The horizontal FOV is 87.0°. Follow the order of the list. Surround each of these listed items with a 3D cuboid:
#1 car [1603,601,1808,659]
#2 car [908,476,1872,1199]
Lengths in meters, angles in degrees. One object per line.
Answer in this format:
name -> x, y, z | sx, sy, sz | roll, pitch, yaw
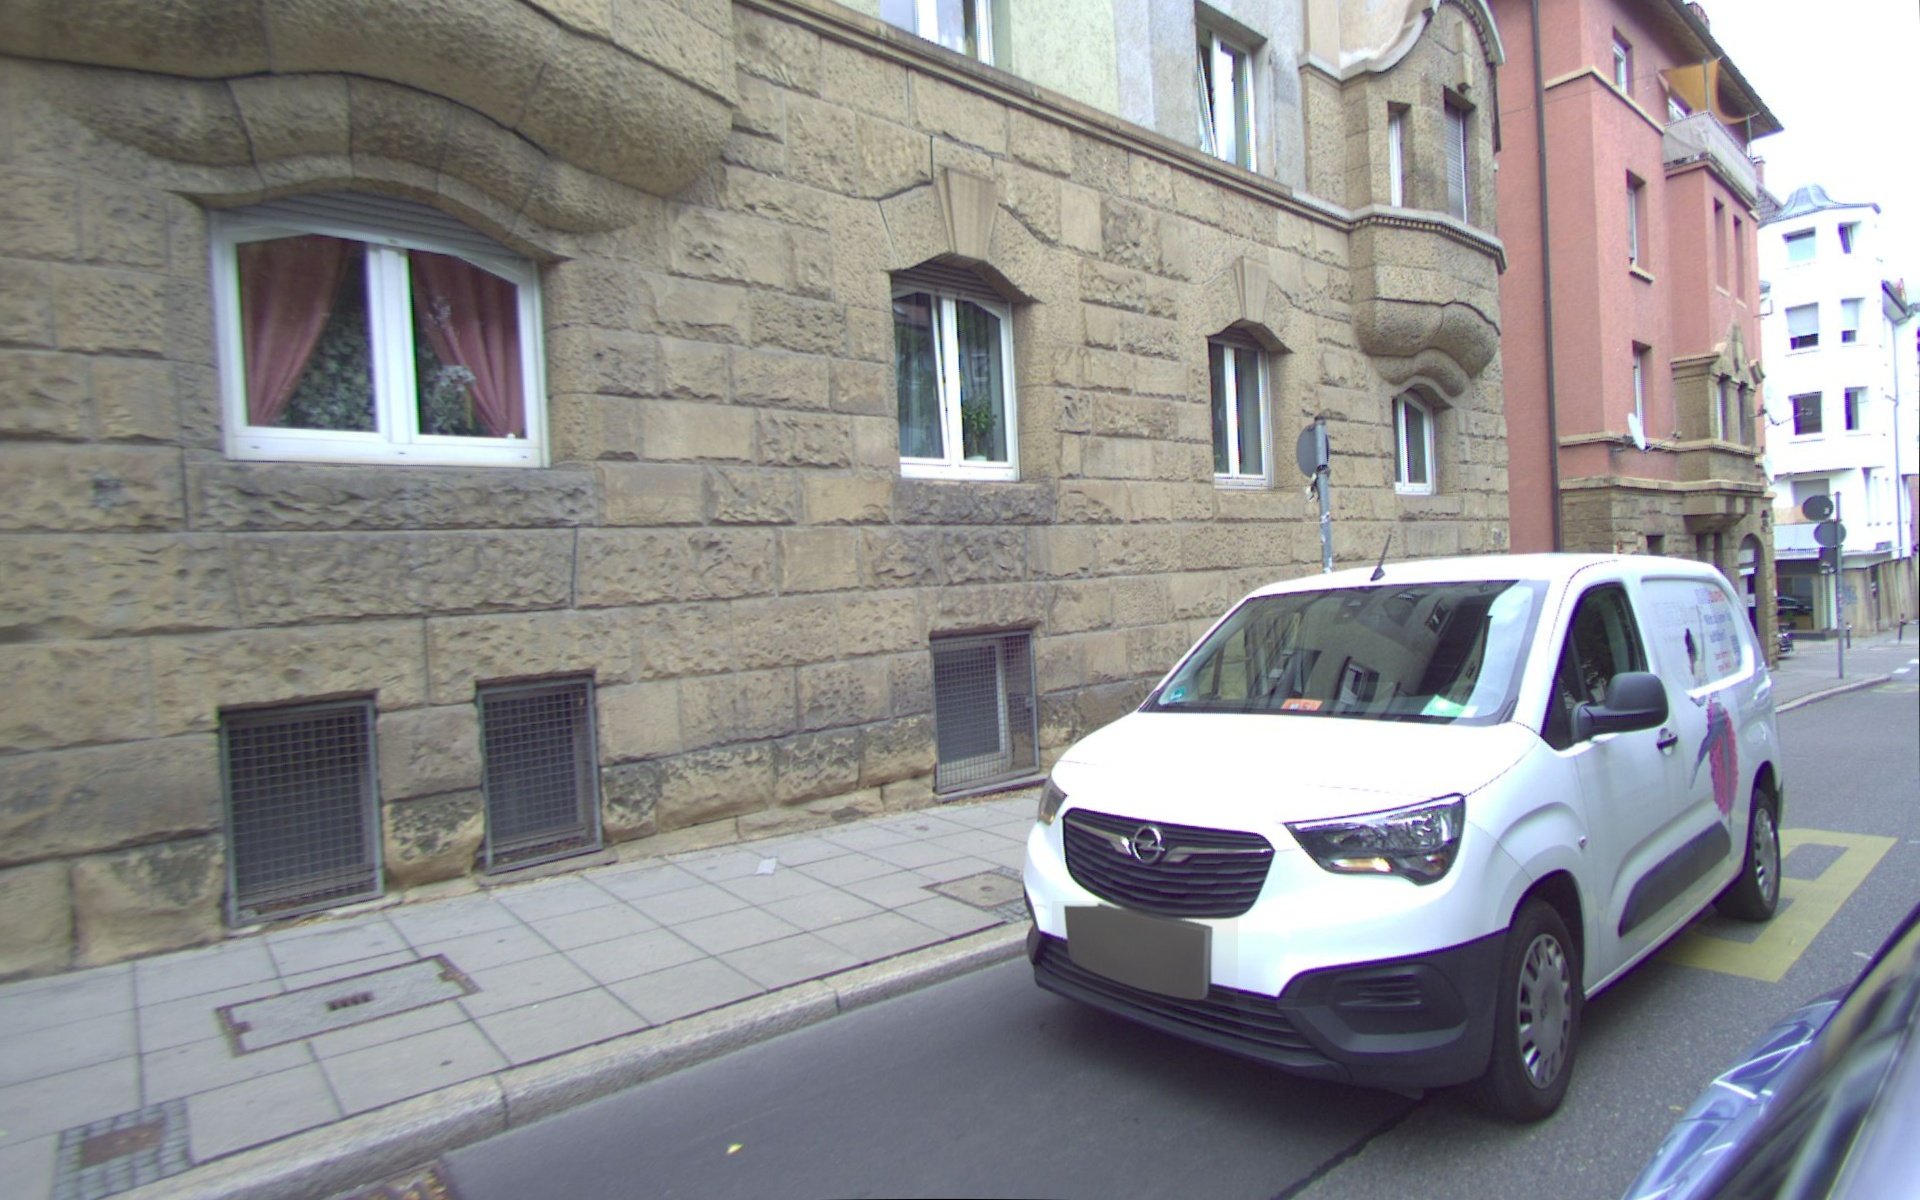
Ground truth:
car -> 24.517, 1.014, 33.430 | 5.125, 1.570, 2.203 | -6, -3, 45
car -> 2.349, 0.572, 4.726 | 4.928, 1.848, 1.854 | -2, -1, -37
